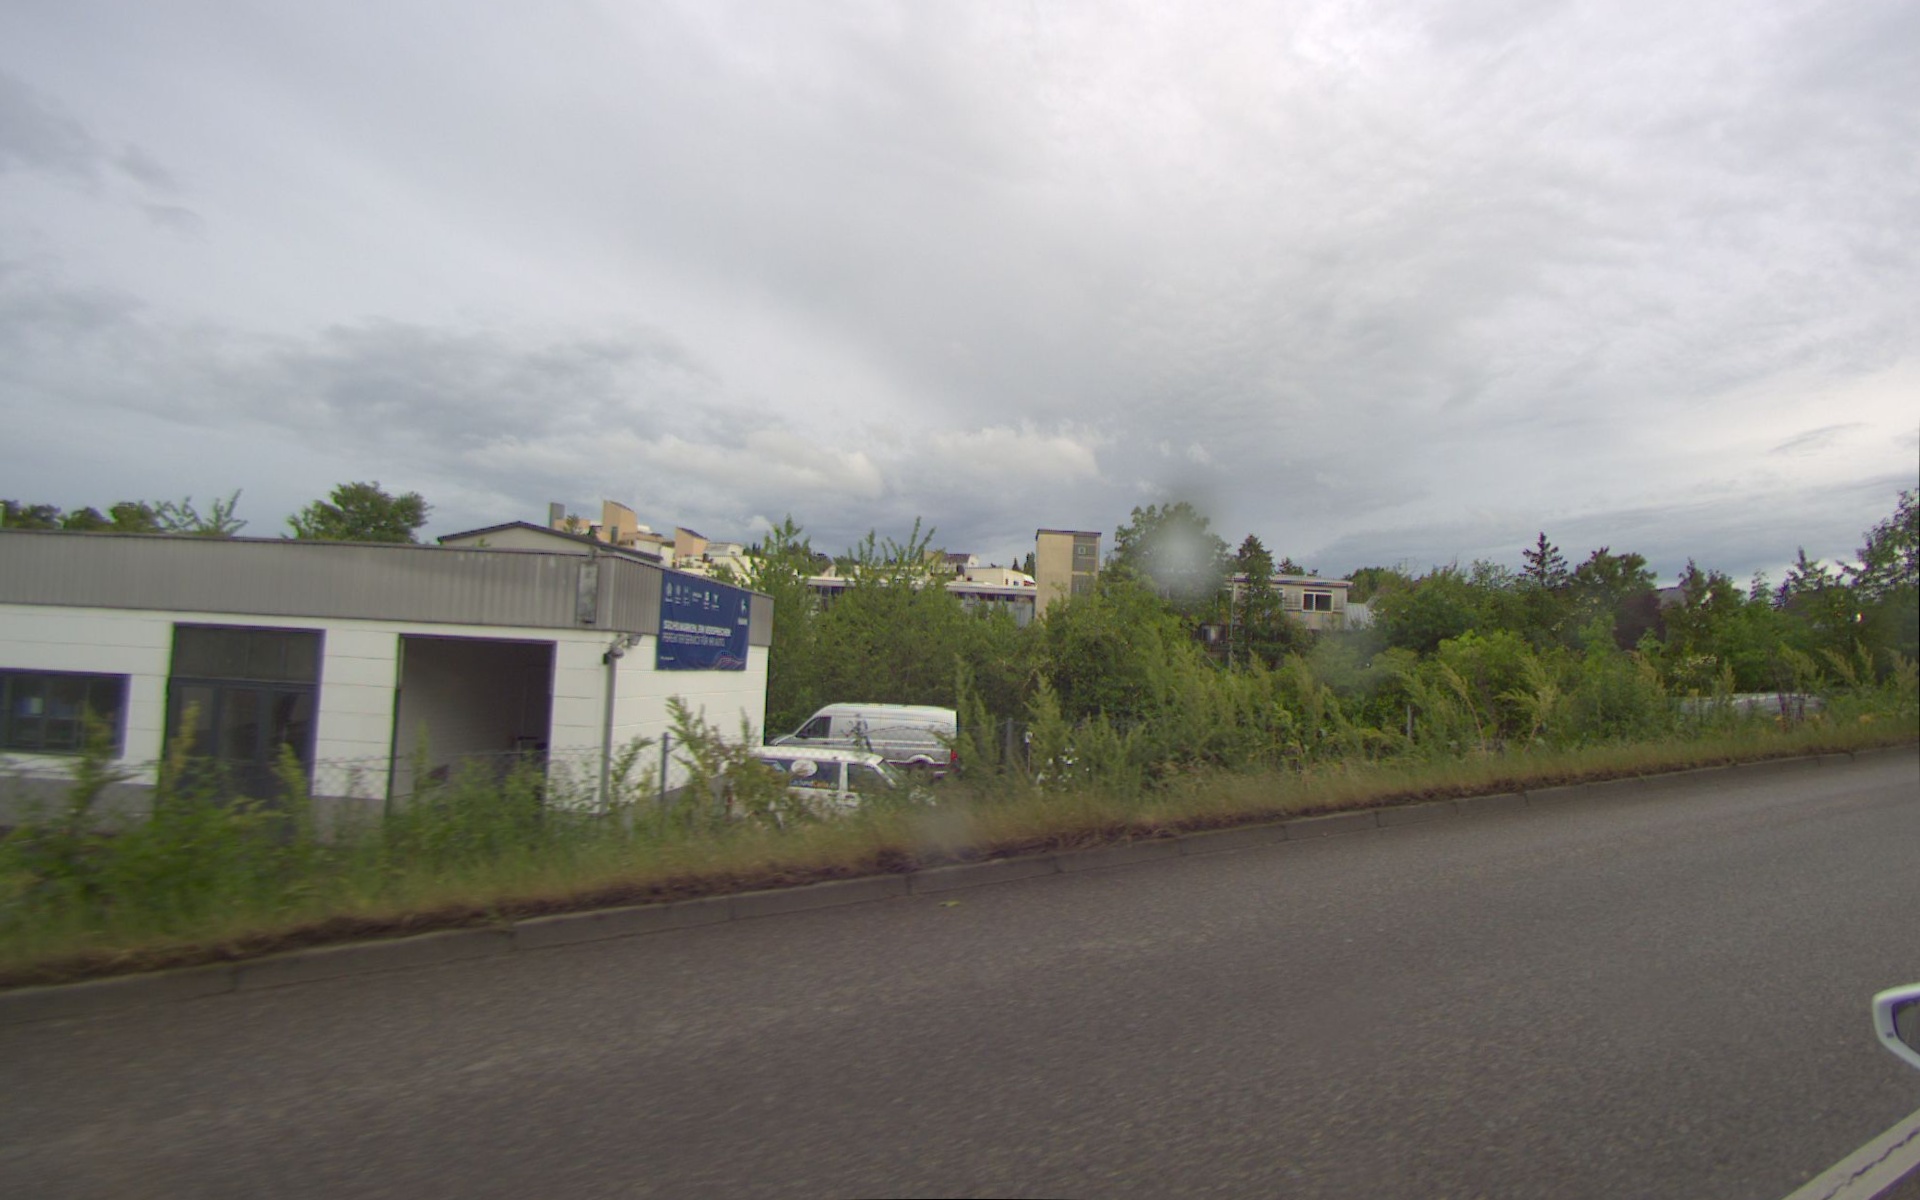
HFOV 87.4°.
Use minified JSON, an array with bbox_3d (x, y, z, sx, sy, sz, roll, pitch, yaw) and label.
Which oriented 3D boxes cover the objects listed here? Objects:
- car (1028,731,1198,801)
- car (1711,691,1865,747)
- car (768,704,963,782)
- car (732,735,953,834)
[{"bbox_3d":[4.328,4.760,28.992,4.549,1.713,1.869,-2,-6,1],"label":"car"},{"bbox_3d":[25.281,3.595,30.688,4.001,1.543,1.652,1,-4,-17],"label":"car"},{"bbox_3d":[-3.166,4.870,34.472,6.464,2.492,1.987,-1,-6,1],"label":"car"},{"bbox_3d":[-2.481,3.995,21.999,4.549,1.826,1.869,-2,-6,1],"label":"car"}]
